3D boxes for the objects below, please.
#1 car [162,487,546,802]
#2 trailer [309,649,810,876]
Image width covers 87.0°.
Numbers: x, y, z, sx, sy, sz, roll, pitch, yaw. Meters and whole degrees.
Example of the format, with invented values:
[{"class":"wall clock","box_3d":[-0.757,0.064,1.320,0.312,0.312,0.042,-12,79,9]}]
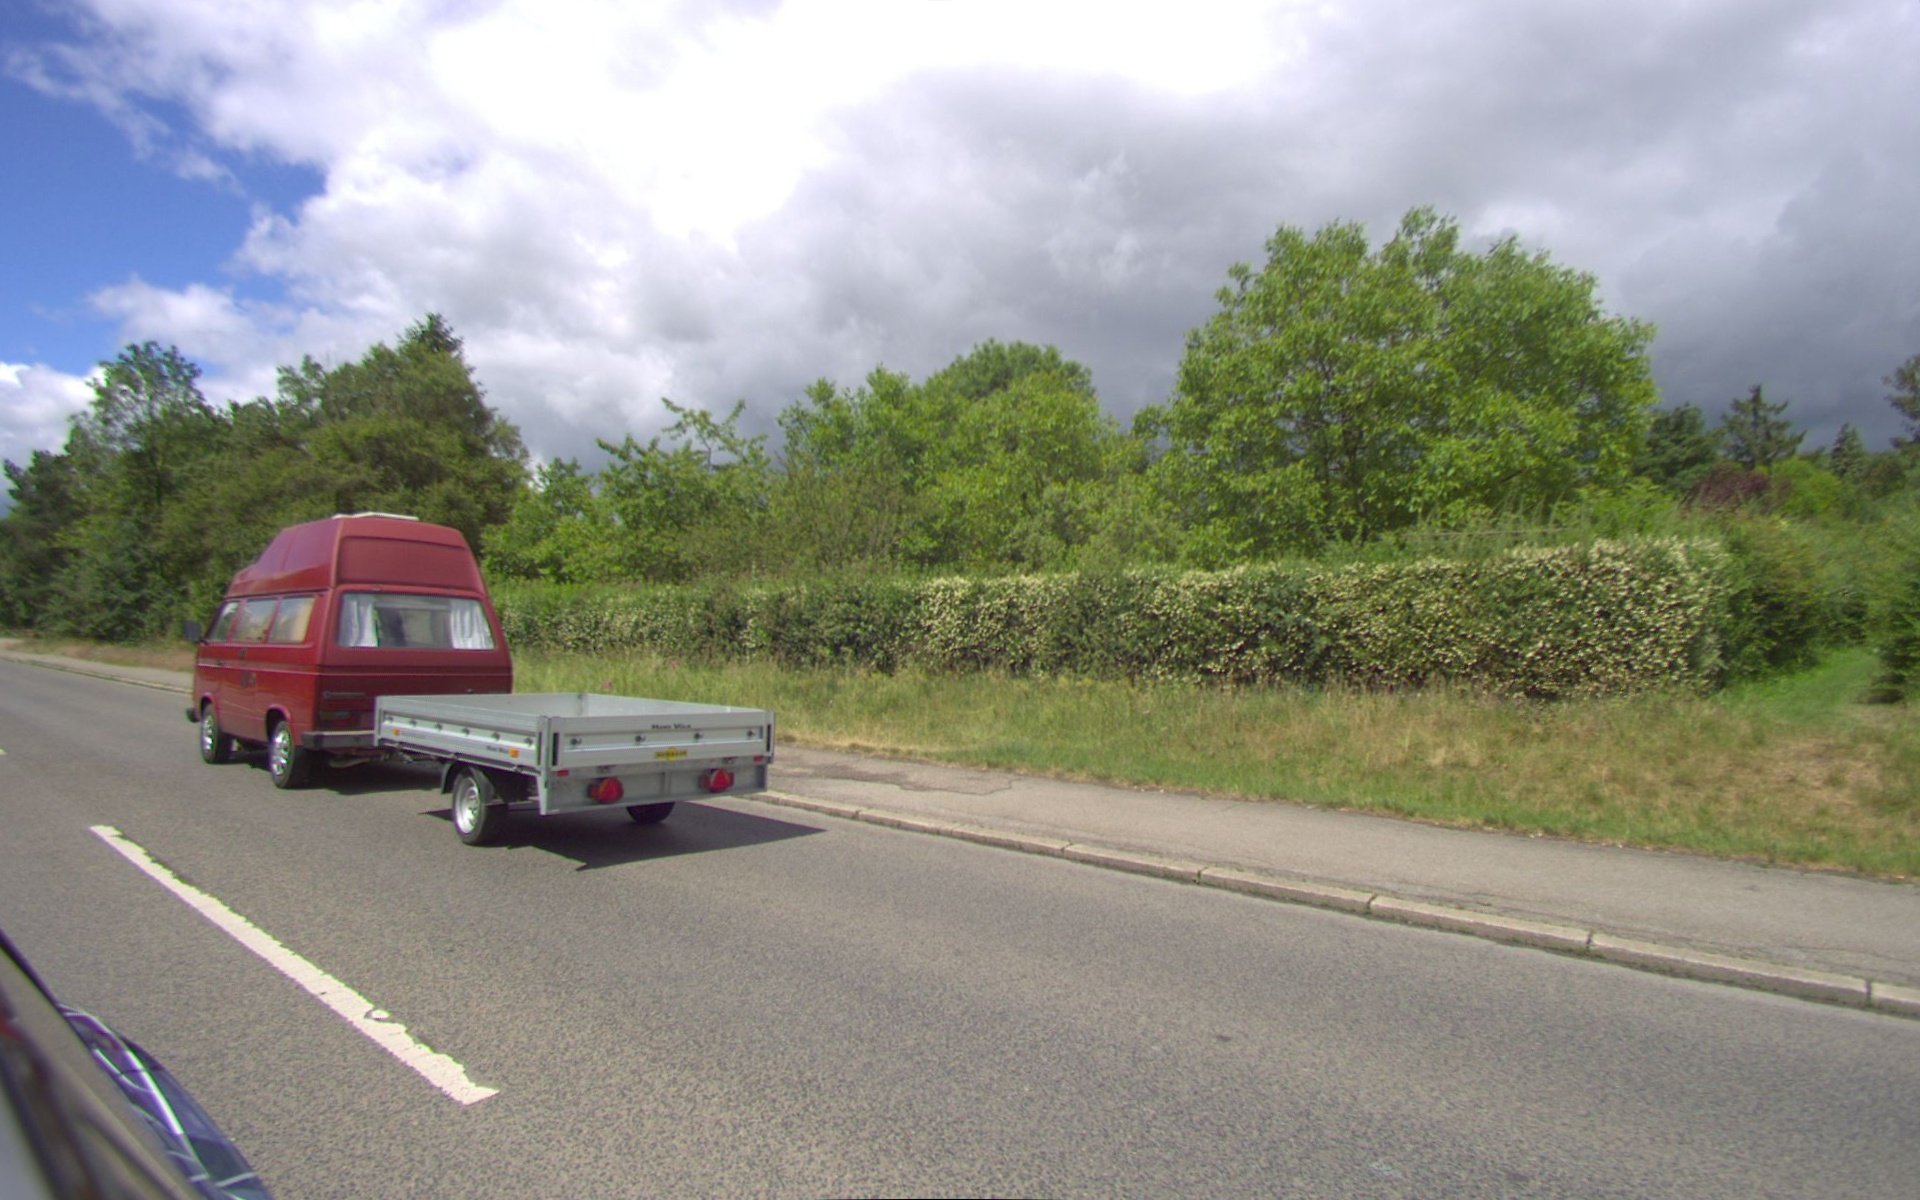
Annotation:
[{"class":"car","box_3d":[-6.458,0.453,10.556,4.722,2.570,1.948,-2,-4,41]},{"class":"trailer","box_3d":[-3.143,1.015,7.618,3.914,1.209,1.872,-1,-4,41]}]
